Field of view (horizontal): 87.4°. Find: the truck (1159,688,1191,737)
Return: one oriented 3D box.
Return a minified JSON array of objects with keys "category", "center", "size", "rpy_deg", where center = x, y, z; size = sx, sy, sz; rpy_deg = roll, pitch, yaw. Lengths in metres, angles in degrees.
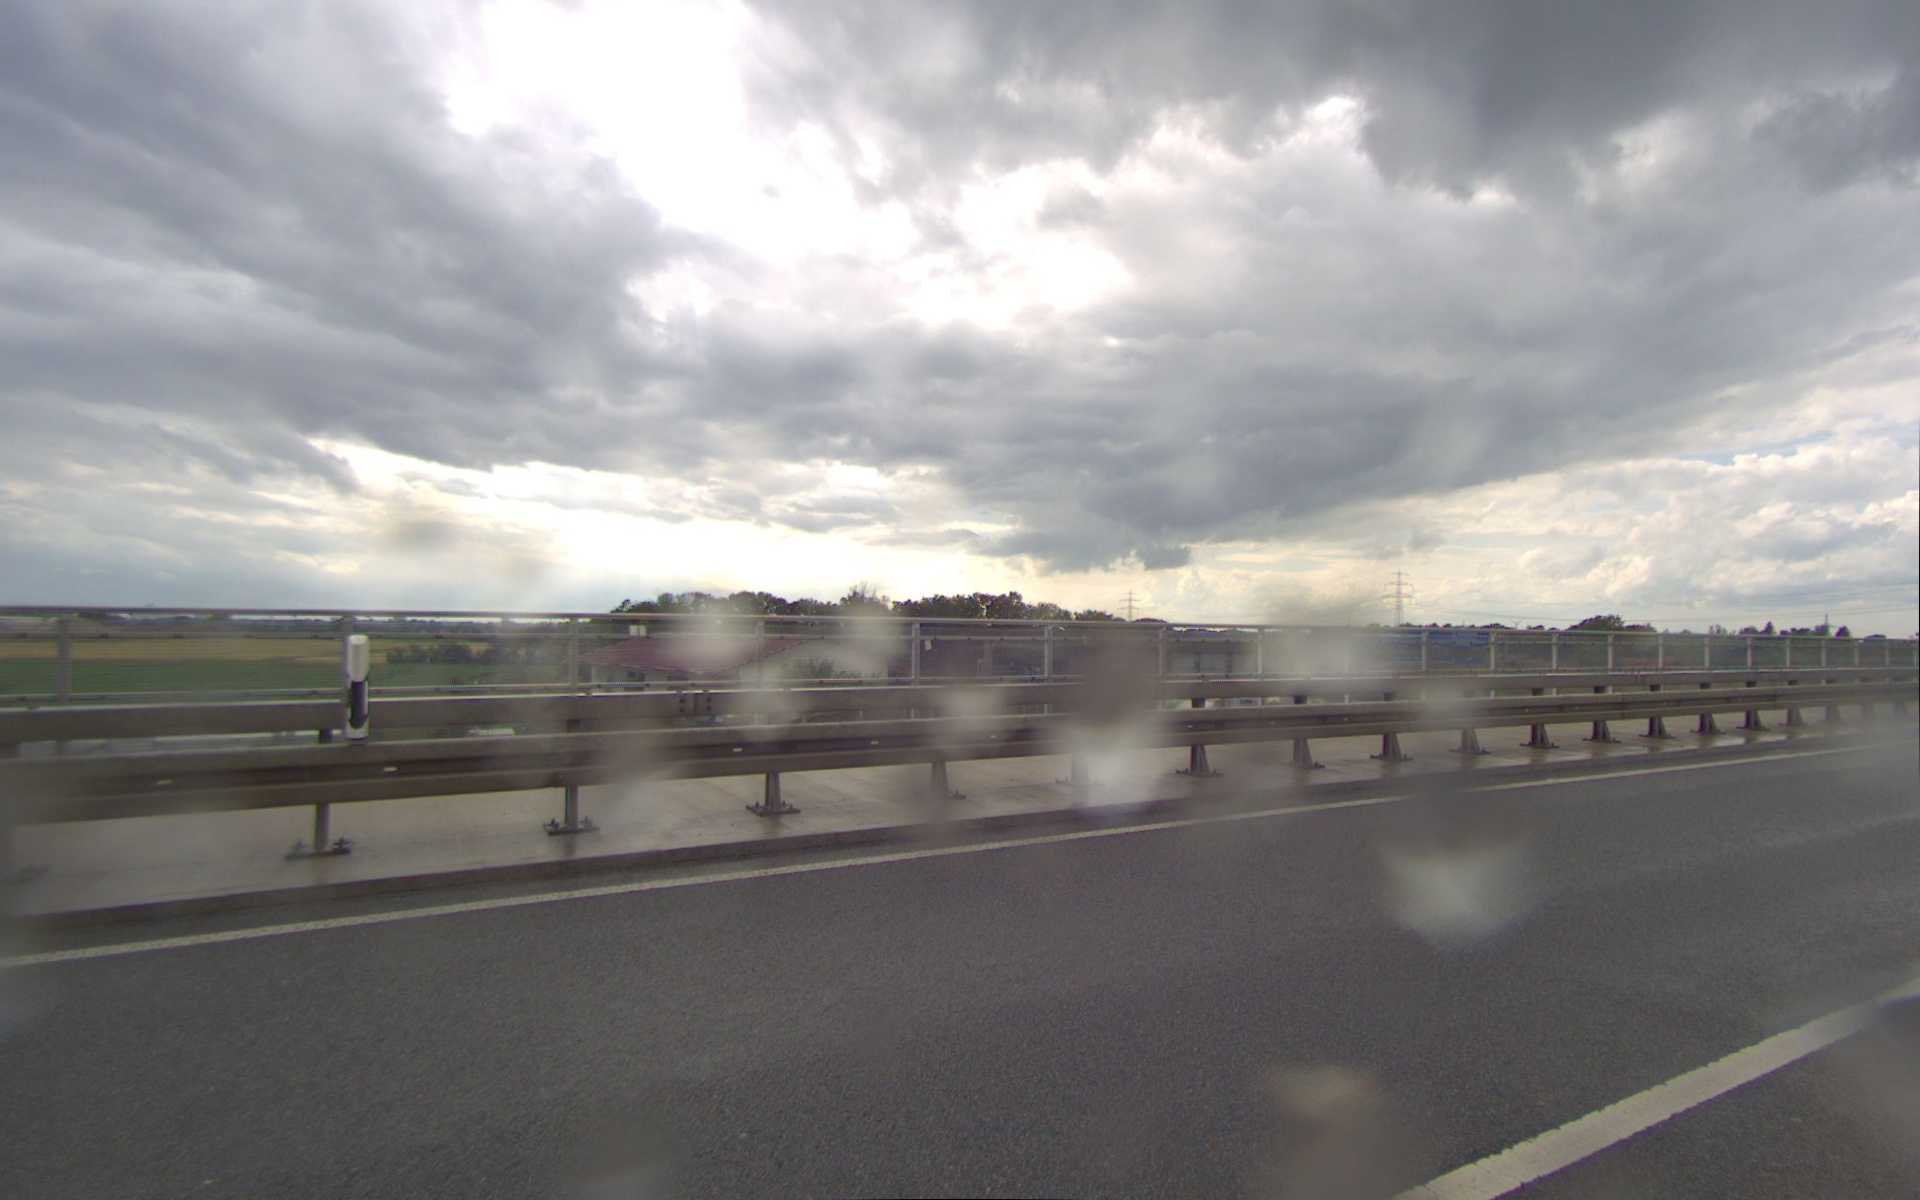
[{"category":"truck","center":[23.196,11.956,107.936],"size":[2.388,4.054,11.174],"rpy_deg":[2,0,16]}]
